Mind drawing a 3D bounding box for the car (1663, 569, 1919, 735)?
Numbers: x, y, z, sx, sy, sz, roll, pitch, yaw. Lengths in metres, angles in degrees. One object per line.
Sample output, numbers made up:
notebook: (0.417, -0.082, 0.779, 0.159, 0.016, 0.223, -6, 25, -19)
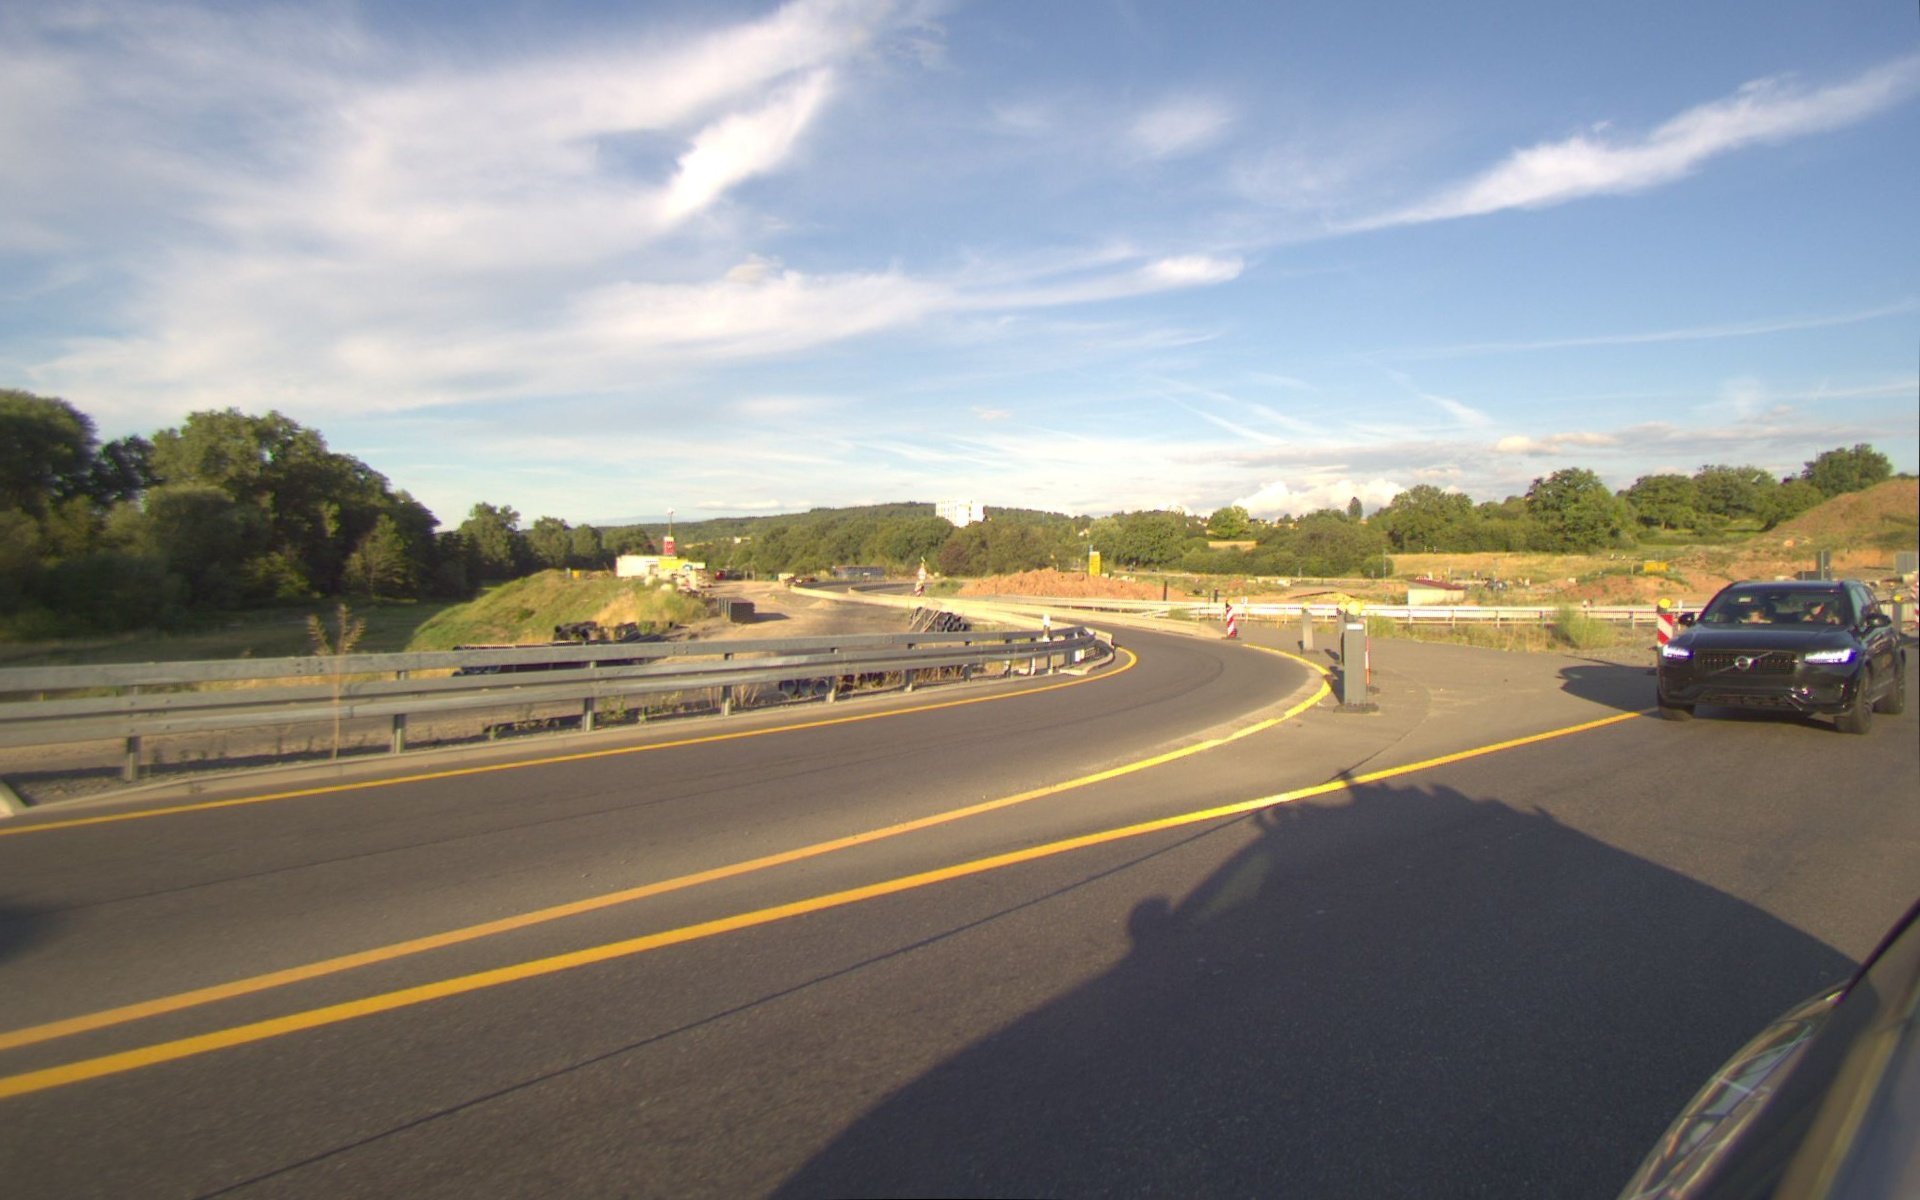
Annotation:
car: (10.756, 0.513, 12.913, 4.804, 1.734, 1.900, -1, 1, -42)
